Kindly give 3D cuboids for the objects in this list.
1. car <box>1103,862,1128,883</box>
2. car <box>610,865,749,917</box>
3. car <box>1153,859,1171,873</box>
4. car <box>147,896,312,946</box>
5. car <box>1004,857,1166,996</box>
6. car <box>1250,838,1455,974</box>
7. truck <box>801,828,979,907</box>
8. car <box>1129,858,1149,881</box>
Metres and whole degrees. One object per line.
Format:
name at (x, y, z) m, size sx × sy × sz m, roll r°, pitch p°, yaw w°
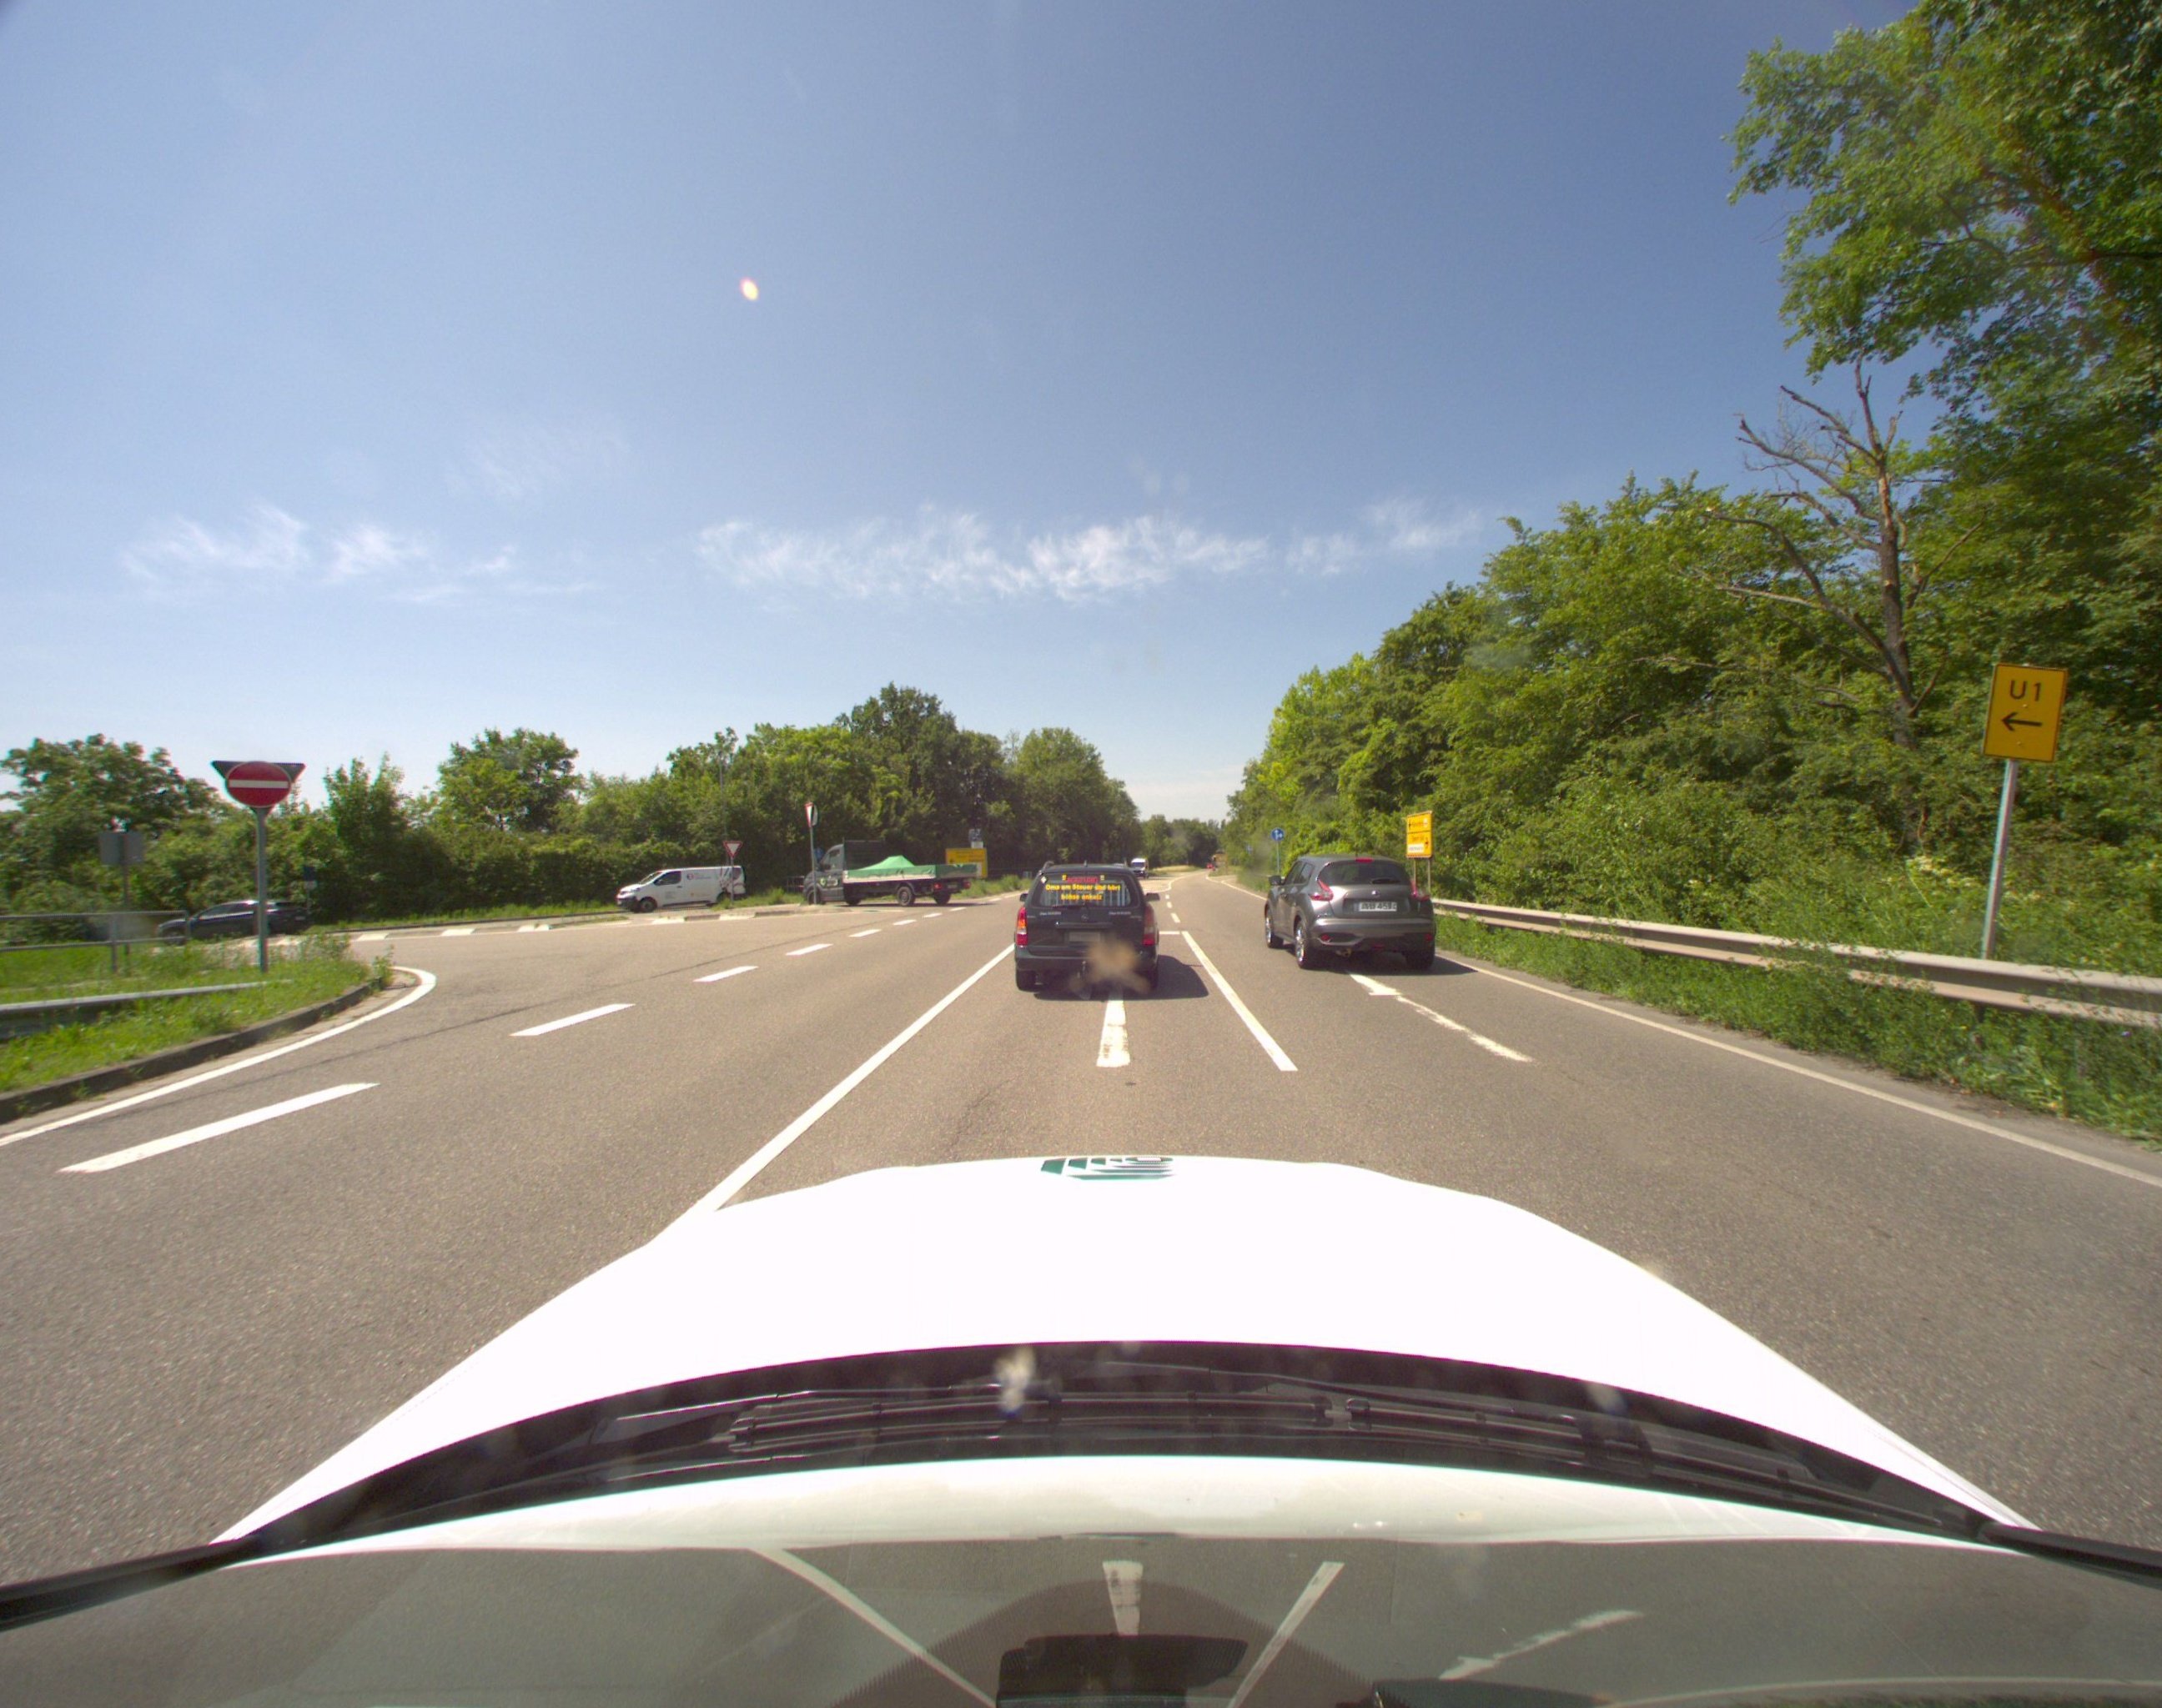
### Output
car at (2.478, 1.322, 58.115) m, size 1.636 × 1.419 × 3.771 m, roll -1°, pitch -1°, yaw 5°
car at (-18.088, 1.579, 36.899) m, size 5.225 × 1.923 × 1.992 m, roll -3°, pitch 2°, yaw -44°
car at (18.908, 2.728, 190.383) m, size 2.003 × 3.226 × 4.770 m, roll -1°, pitch -1°, yaw -24°
car at (-32.191, 2.510, 30.944) m, size 3.931 × 1.596 × 1.757 m, roll -1°, pitch 0°, yaw -22°
car at (0.134, 0.781, 10.592) m, size 1.713 × 1.457 × 3.800 m, roll -1°, pitch 0°, yaw 3°
car at (3.827, 0.652, 12.241) m, size 1.836 × 1.685 × 4.002 m, roll -1°, pitch 0°, yaw 2°
truck at (-6.879, 0.539, 28.944) m, size 6.553 × 2.565 × 2.159 m, roll -2°, pitch -1°, yaw 33°
car at (7.423, 1.989, 104.077) m, size 2.093 × 2.850 × 6.024 m, roll -1°, pitch -1°, yaw 8°
